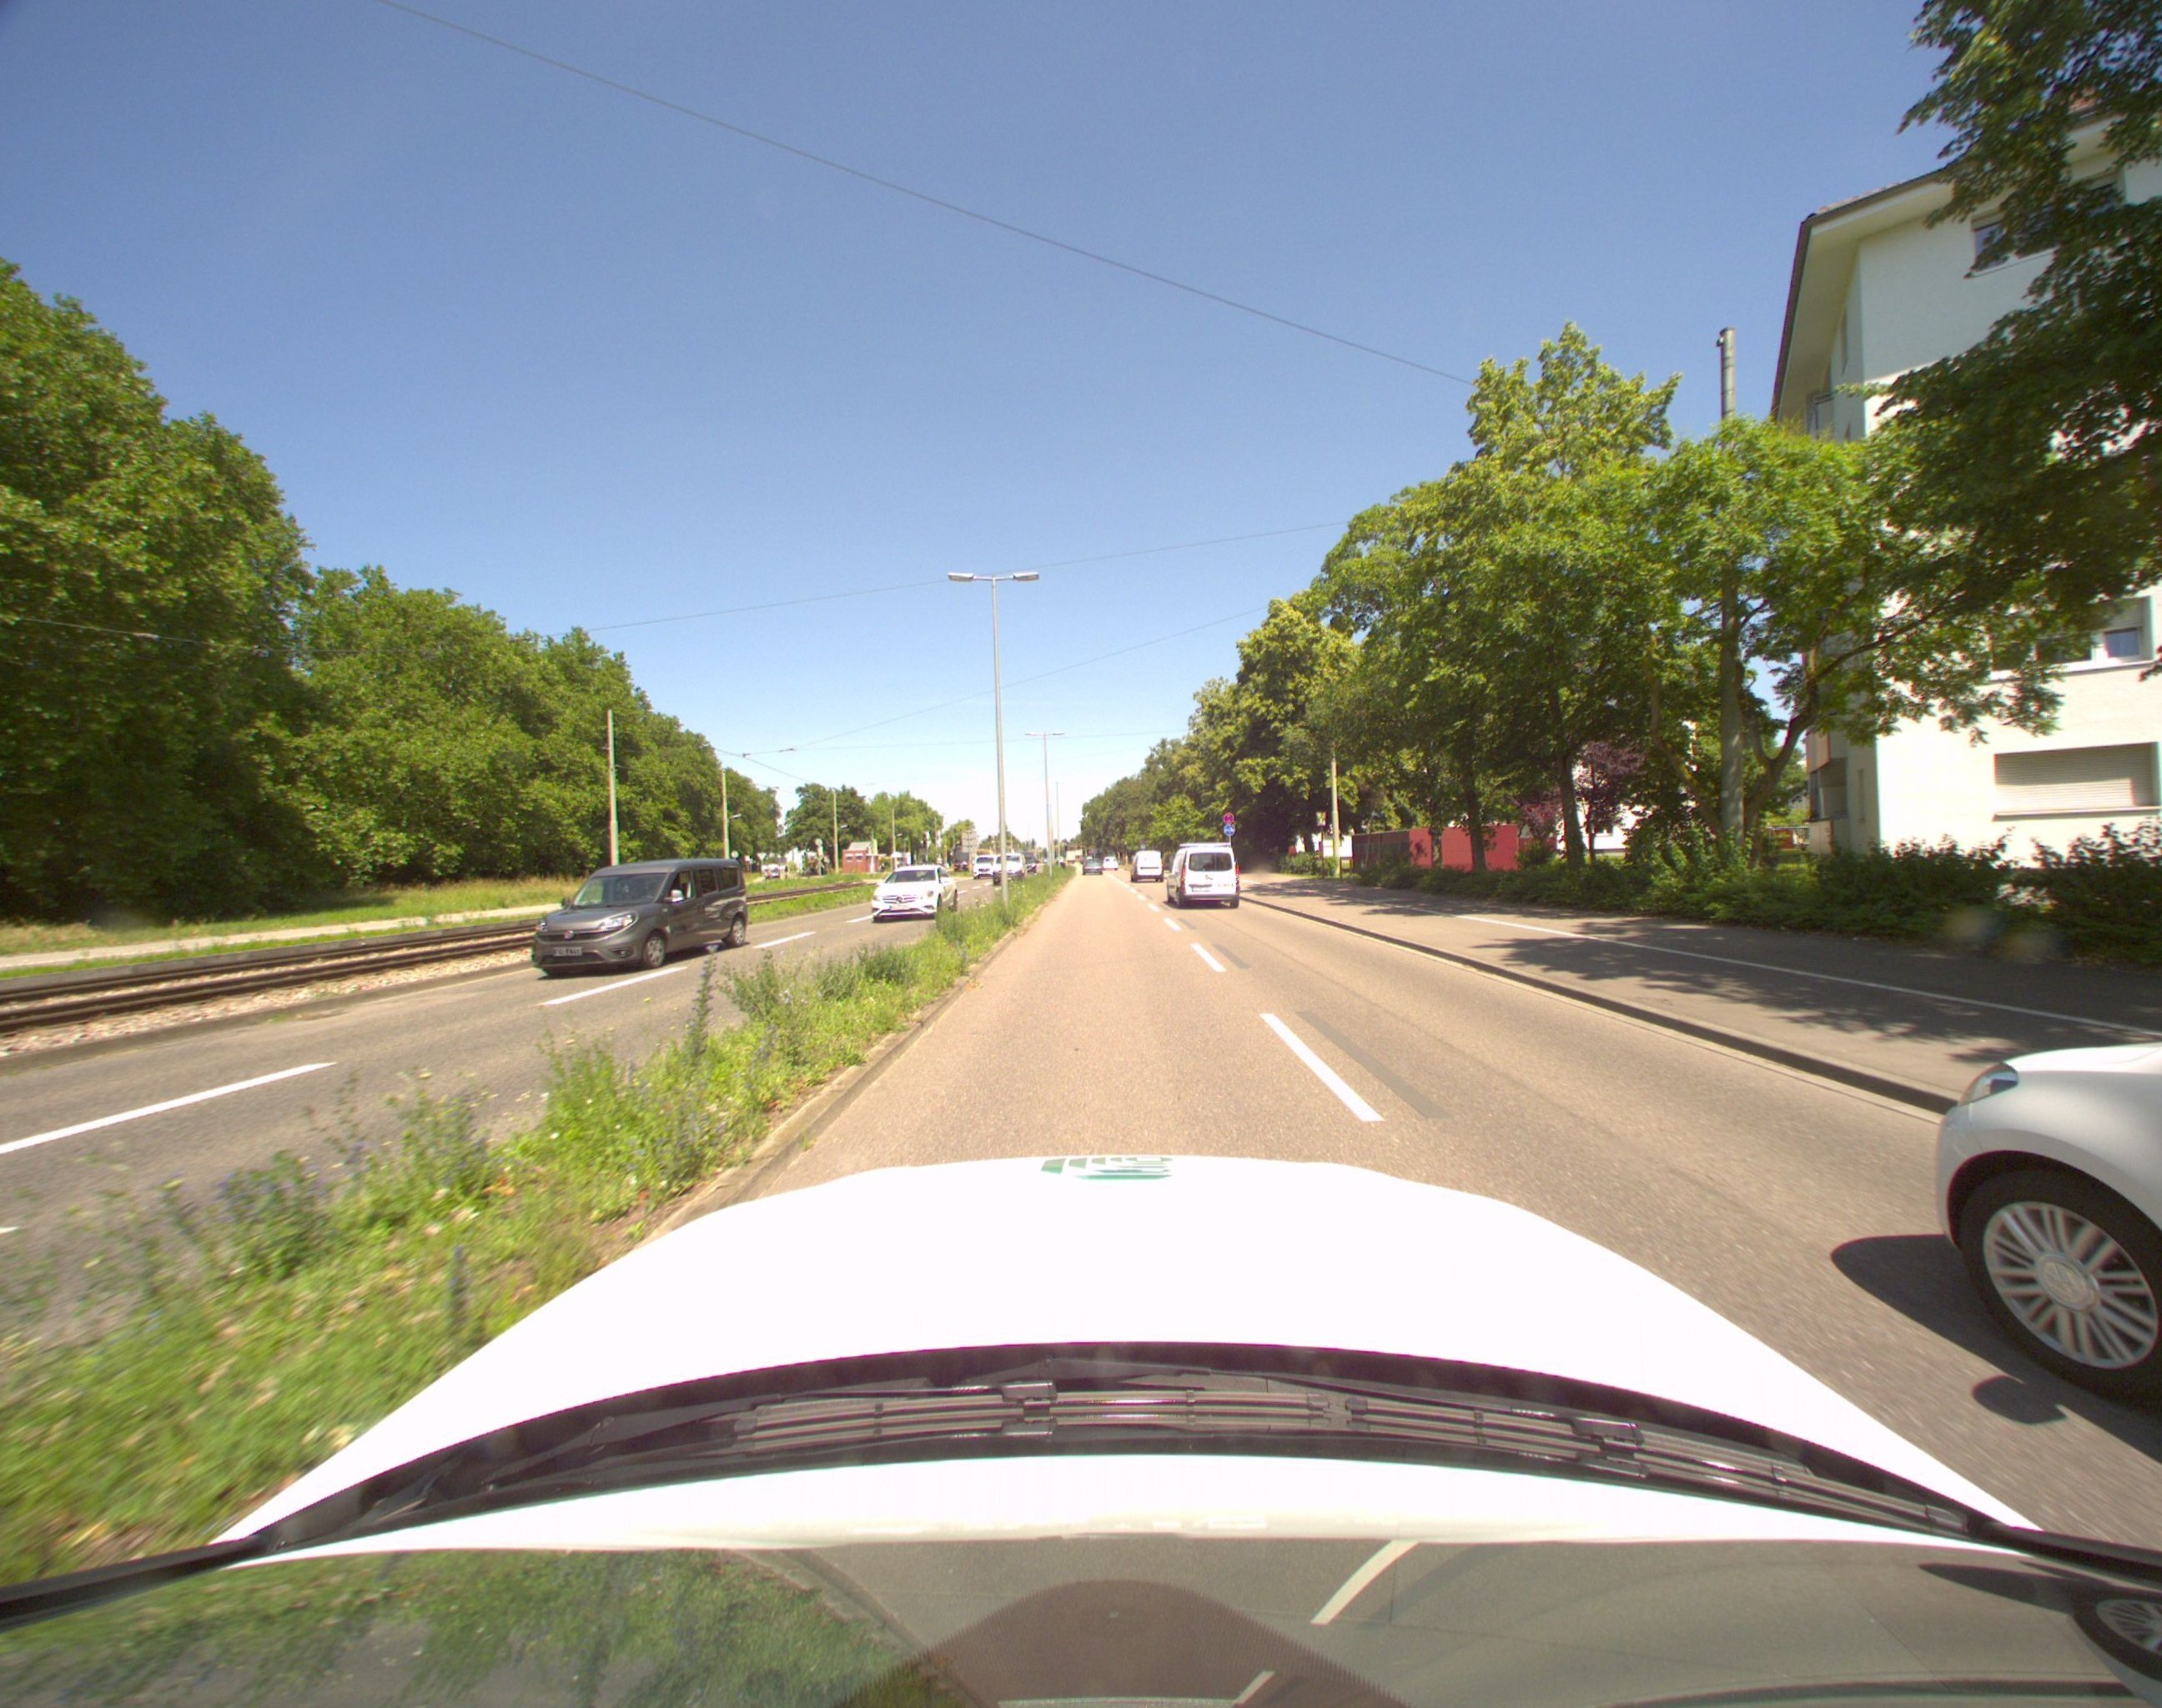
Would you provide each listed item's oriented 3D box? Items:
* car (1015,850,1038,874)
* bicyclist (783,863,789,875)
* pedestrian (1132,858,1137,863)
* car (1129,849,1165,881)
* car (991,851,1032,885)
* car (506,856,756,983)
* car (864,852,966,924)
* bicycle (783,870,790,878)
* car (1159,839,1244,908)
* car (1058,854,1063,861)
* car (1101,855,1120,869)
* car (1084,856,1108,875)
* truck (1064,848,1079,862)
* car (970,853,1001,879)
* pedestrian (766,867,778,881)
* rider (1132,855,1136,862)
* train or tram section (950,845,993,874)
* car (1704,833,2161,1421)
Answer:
[{"bbox_3d":[-5.713,0.828,85.636,1.988,2.366,5.370,-3,0,-1],"label":"car"},{"bbox_3d":[-35.465,1.803,97.839,0.507,1.336,0.678,-2,-1,-8],"label":"bicyclist"},{"bbox_3d":[9.253,1.174,141.838,0.676,0.847,1.772,-2,0,-2],"label":"pedestrian"},{"bbox_3d":[3.828,0.612,47.906,1.723,1.814,3.998,-1,0,-1],"label":"car"},{"bbox_3d":[-4.315,0.813,51.364,1.823,1.906,5.569,-3,0,2],"label":"car"},{"bbox_3d":[-7.733,1.000,14.642,1.824,1.801,4.613,-4,0,0],"label":"car"},{"bbox_3d":[-4.579,0.875,23.100,1.823,1.738,4.040,-4,0,2],"label":"car"},{"bbox_3d":[-35.437,2.399,97.983,0.507,0.901,1.562,-2,0,-8],"label":"bicycle"},{"bbox_3d":[3.566,0.543,24.848,1.819,1.882,4.453,-1,0,-1],"label":"car"},{"bbox_3d":[-6.434,1.066,256.758,1.683,1.897,3.866,-2,0,-2],"label":"car"},{"bbox_3d":[3.381,0.938,93.976,1.799,1.540,3.996,-2,0,-2],"label":"car"},{"bbox_3d":[1.250,0.987,69.857,1.797,1.486,3.996,-2,0,-3],"label":"car"},{"bbox_3d":[-2.900,0.391,240.686,3.890,3.812,10.782,-2,0,-2],"label":"truck"},{"bbox_3d":[-8.115,0.981,69.627,1.883,2.017,5.081,-4,0,-1],"label":"car"},{"bbox_3d":[-38.633,2.499,101.726,0.511,1.701,1.278,-2,-1,43],"label":"pedestrian"},{"bbox_3d":[9.242,0.793,141.834,0.676,1.281,0.533,-2,-1,-3],"label":"rider"},{"bbox_3d":[-16.234,0.760,123.949,2.781,3.668,37.483,-2,0,-2],"label":"train or tram section"},{"bbox_3d":[3.474,0.658,1.553,1.653,1.449,3.855,-1,0,1],"label":"car"}]
